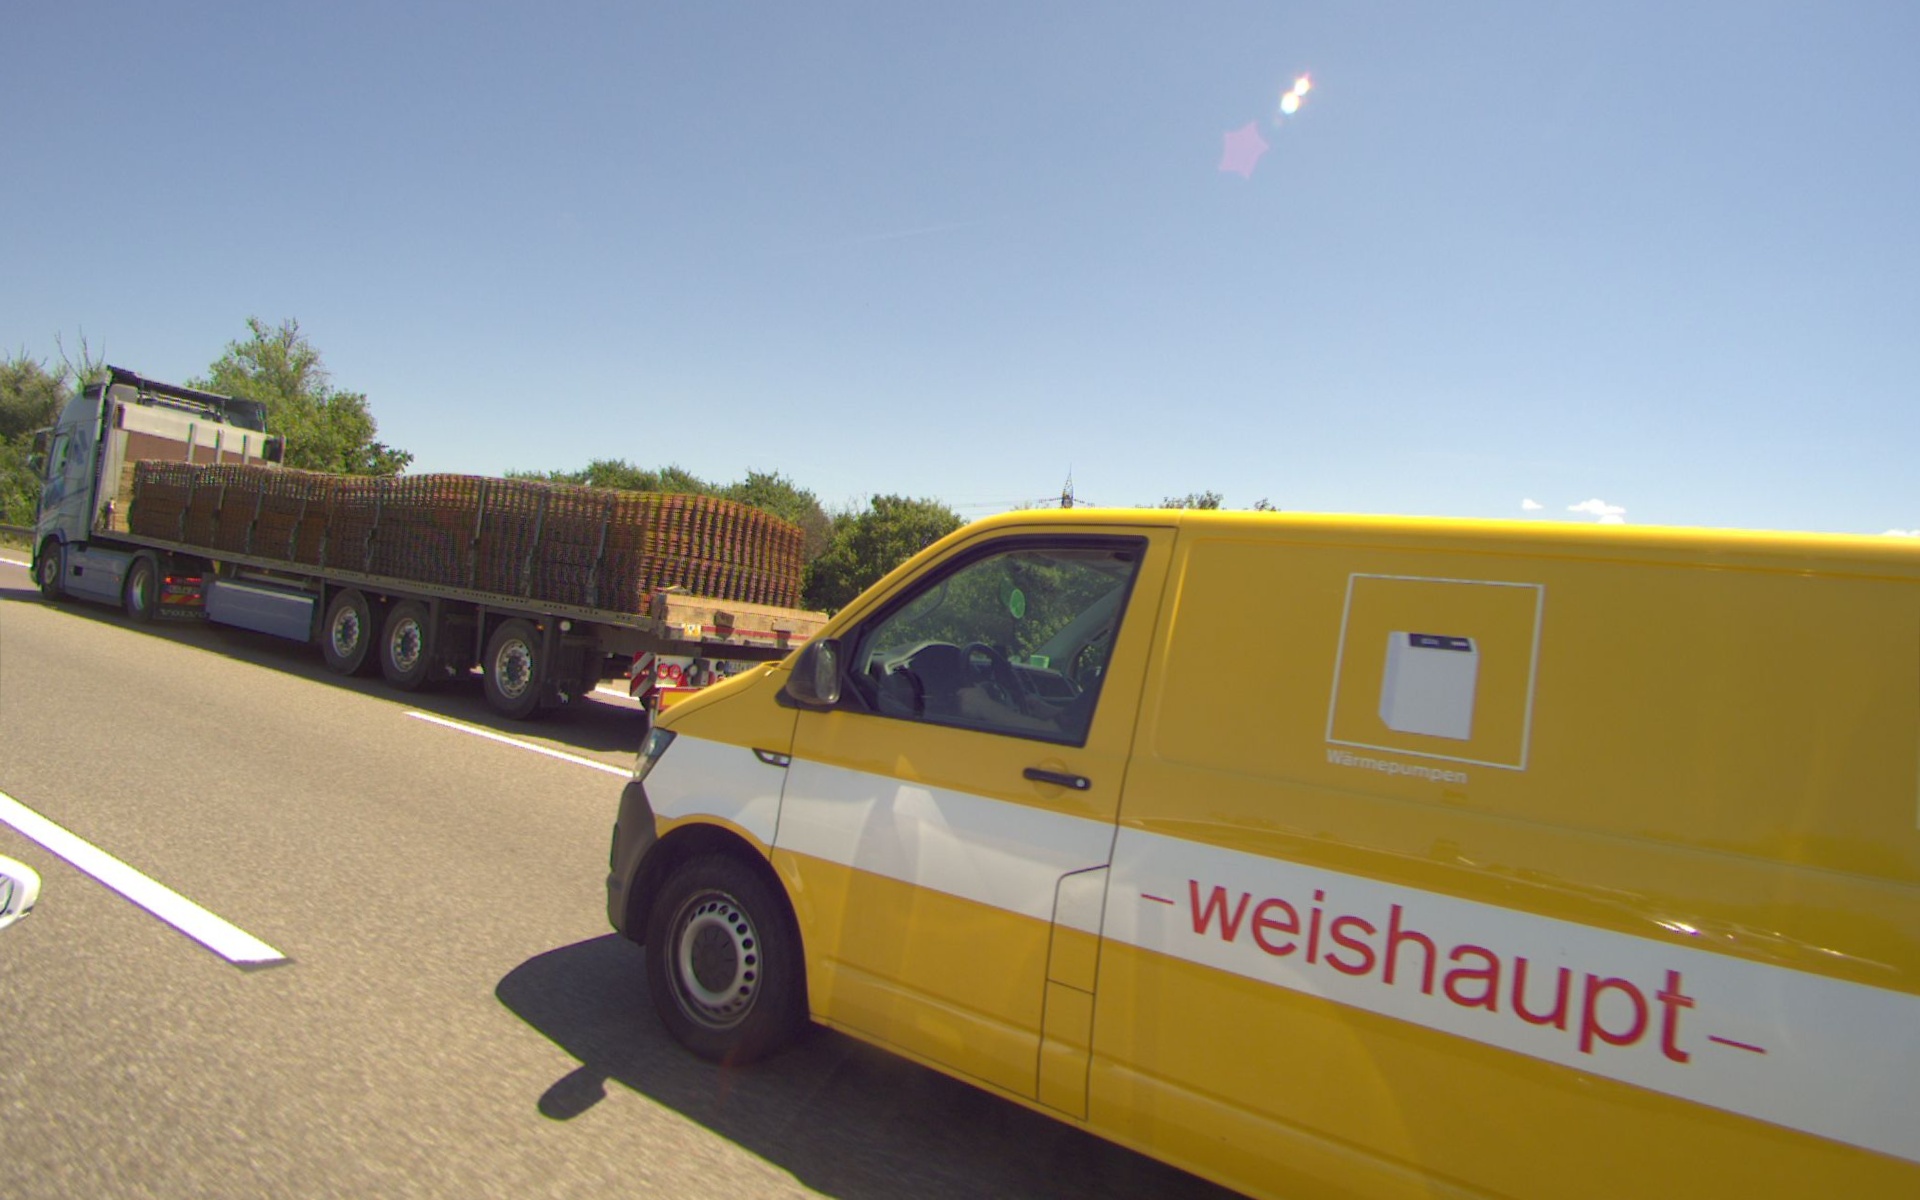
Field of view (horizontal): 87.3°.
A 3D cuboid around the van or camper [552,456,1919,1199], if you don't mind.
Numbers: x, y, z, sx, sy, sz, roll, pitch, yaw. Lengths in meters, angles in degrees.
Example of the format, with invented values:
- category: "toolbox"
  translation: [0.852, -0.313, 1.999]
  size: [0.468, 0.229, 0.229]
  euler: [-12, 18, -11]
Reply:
- category: "van or camper"
  translation: [1.270, 0.782, 3.093]
  size: [4.888, 1.931, 1.997]
  euler: [6, -2, 31]

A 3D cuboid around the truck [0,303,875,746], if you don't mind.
- category: "truck"
  translation: [-8.891, -1.217, 14.549]
  size: [16.338, 4.003, 2.975]
  euler: [6, -2, 31]
